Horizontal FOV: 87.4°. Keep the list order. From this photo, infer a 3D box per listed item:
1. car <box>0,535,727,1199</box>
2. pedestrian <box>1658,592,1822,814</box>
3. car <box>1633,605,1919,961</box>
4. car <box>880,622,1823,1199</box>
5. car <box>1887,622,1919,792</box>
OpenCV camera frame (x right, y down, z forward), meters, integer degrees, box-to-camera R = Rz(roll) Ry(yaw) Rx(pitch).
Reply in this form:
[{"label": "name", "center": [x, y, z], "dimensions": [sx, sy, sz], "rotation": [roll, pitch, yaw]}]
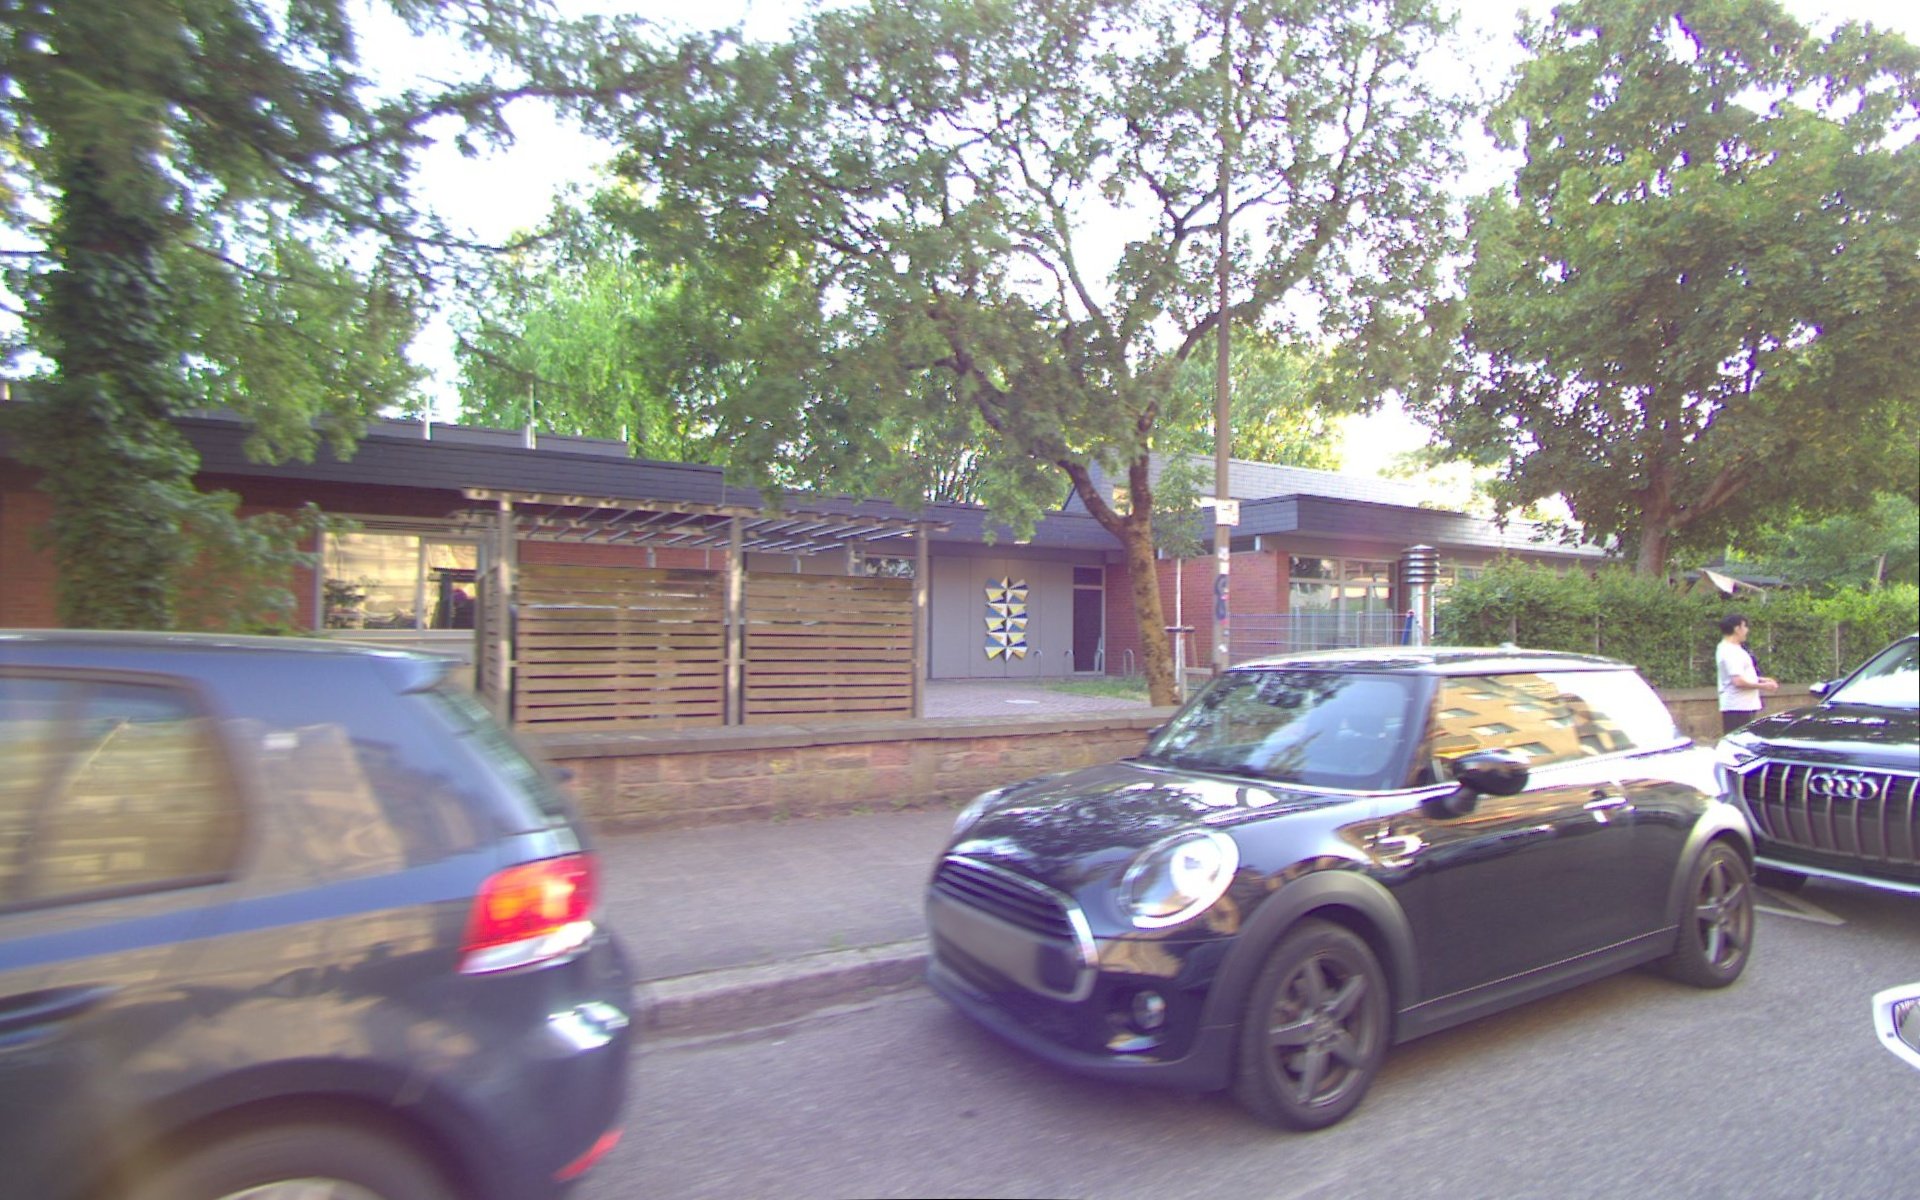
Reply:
[{"label": "car", "center": [-2.757, 0.675, 1.700], "dimensions": [4.311, 1.515, 1.707], "rotation": [1, -3, -31]}, {"label": "pedestrian", "center": [6.974, 0.874, 8.998], "dimensions": [0.778, 1.855, 0.933], "rotation": [1, -1, -31]}, {"label": "car", "center": [6.234, 0.879, 5.739], "dimensions": [4.499, 1.590, 1.801], "rotation": [1, -2, -23]}, {"label": "car", "center": [1.780, 0.889, 4.308], "dimensions": [3.944, 1.497, 1.630], "rotation": [1, -3, -29]}, {"label": "car", "center": [11.408, 1.043, 10.132], "dimensions": [3.950, 1.652, 1.777], "rotation": [1, -4, -28]}]
